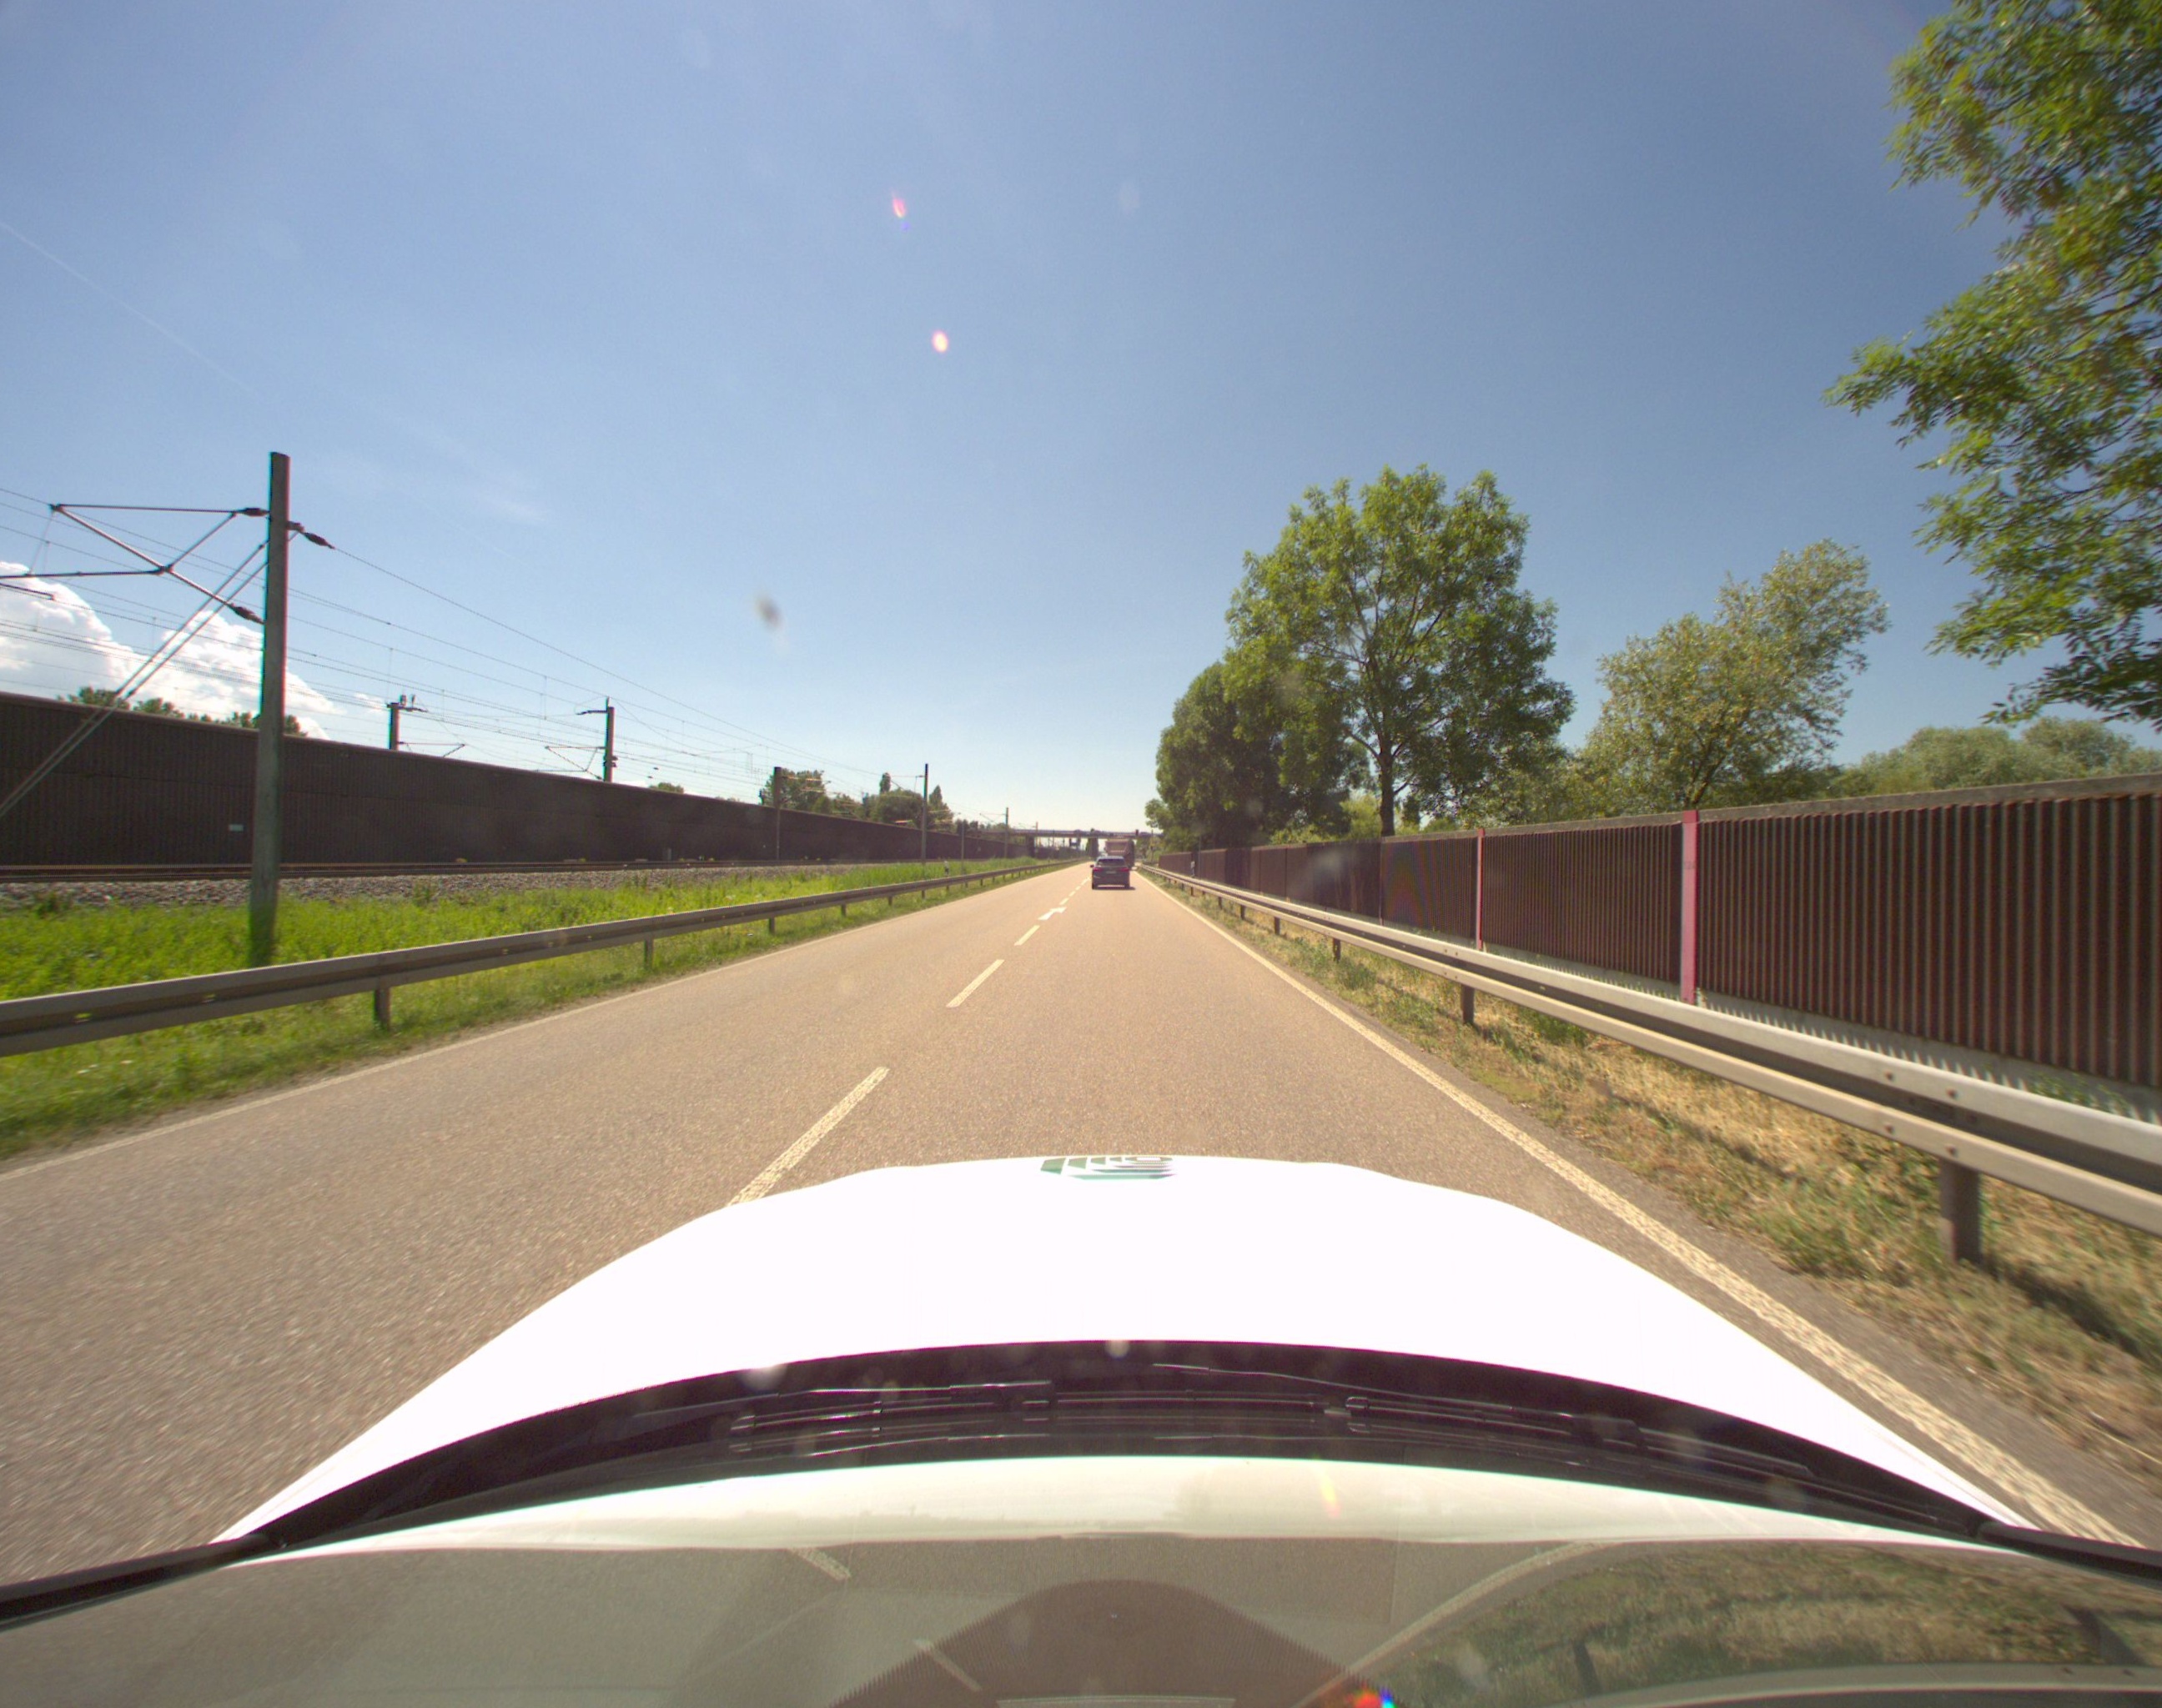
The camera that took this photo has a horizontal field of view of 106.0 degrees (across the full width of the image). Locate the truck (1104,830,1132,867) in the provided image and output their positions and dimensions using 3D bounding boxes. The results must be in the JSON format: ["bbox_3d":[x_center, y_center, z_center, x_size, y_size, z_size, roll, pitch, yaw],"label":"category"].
[{"bbox_3d":[4.165,-0.549,89.092,2.821,3.821,11.896,0,0,4],"label":"truck"}]

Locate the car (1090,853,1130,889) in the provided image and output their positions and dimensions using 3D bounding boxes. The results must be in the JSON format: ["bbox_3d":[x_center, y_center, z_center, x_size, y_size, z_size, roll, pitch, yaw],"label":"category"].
[{"bbox_3d":[1.368,0.789,39.501,1.838,1.623,4.227,0,0,1],"label":"car"}]

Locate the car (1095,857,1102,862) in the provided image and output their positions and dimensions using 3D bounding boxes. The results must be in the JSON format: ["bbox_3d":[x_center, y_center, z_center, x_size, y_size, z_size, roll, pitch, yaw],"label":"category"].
[{"bbox_3d":[5.085,1.587,235.798,1.859,1.485,4.885,0,0,-1],"label":"car"}]
